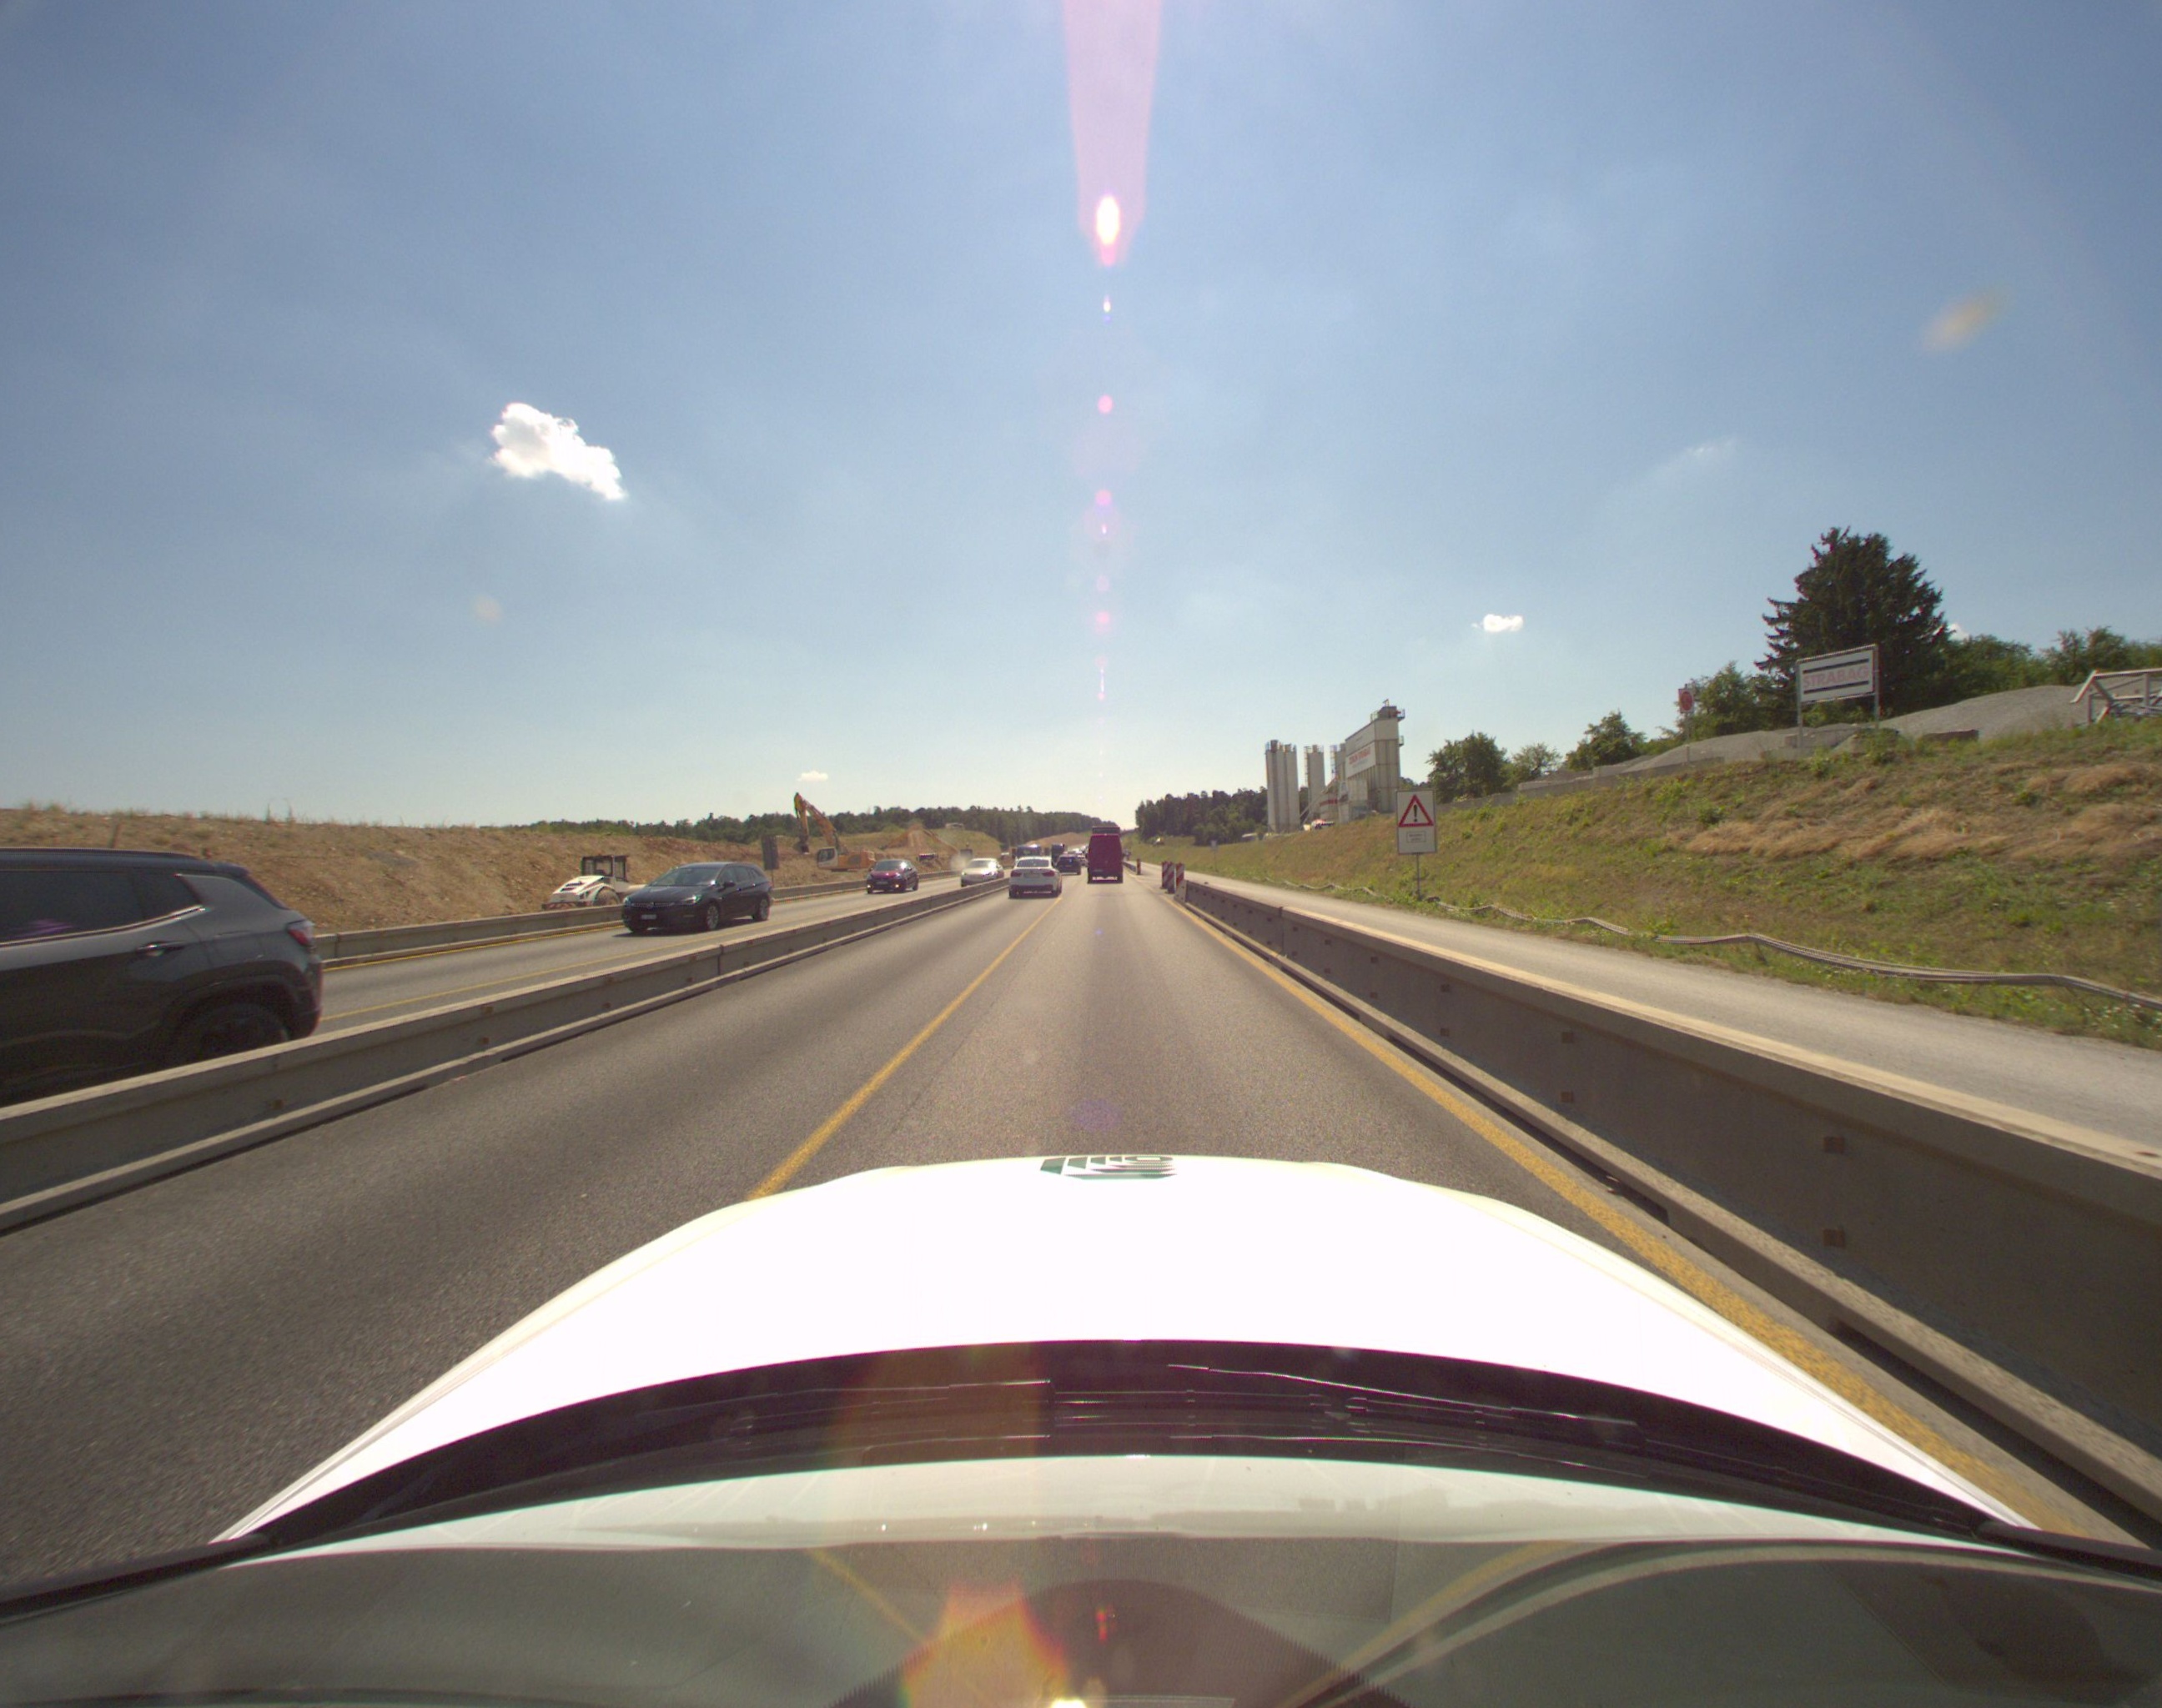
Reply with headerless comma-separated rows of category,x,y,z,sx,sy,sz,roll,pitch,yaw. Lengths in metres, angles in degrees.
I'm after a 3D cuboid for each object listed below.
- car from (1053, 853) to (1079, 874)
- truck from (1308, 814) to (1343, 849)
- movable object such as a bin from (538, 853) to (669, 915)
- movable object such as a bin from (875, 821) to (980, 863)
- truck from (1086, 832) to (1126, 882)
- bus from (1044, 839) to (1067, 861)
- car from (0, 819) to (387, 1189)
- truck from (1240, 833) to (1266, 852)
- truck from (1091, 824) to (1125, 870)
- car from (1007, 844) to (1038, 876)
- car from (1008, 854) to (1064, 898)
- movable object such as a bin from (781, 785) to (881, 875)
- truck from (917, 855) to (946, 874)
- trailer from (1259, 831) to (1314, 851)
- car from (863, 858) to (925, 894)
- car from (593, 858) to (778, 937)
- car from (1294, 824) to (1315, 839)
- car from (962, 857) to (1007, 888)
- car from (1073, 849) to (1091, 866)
car,-1.139,0.701,63.428,1.789,1.534,3.932,-2,0,1
truck,32.277,-2.916,107.736,3.413,4.296,9.958,-2,0,11
movable object such as a bin,-21.285,1.231,36.764,1.695,2.461,6.747,-2,0,2
movable object such as a bin,-28.629,-2.162,152.686,18.653,7.231,3.615,-2,0,-1
truck,1.474,0.167,46.939,2.103,2.633,6.488,-2,0,2
bus,-5.380,-0.878,174.778,3.929,4.415,17.202,-2,0,1
car,-6.007,0.732,3.386,1.765,1.741,5.041,-2,0,2
truck,30.138,-2.031,142.471,2.869,3.113,6.047,-2,0,26
truck,2.642,-0.619,78.998,3.003,4.153,8.277,-2,0,2
car,-4.808,0.491,67.598,1.948,2.468,5.359,-2,0,2
car,-1.680,0.791,31.691,1.789,1.534,5.074,-1,0,1
movable object such as a bin,-22.414,-2.114,73.235,7.605,7.713,3.448,-2,0,3
truck,-21.490,1.465,117.207,2.307,2.617,8.414,-2,0,2
trailer,36.289,-2.329,143.968,9.006,3.229,3.316,-2,0,-13
car,-8.358,0.950,36.820,1.646,1.442,4.229,-2,0,2
car,-8.831,0.894,18.708,1.853,1.501,4.578,-2,0,2
car,31.963,-3.190,116.556,1.986,2.013,4.429,-2,0,2
car,-4.850,0.906,41.434,1.672,1.442,4.671,-2,0,0
car,0.138,0.376,100.314,1.986,2.013,4.002,-2,0,2
